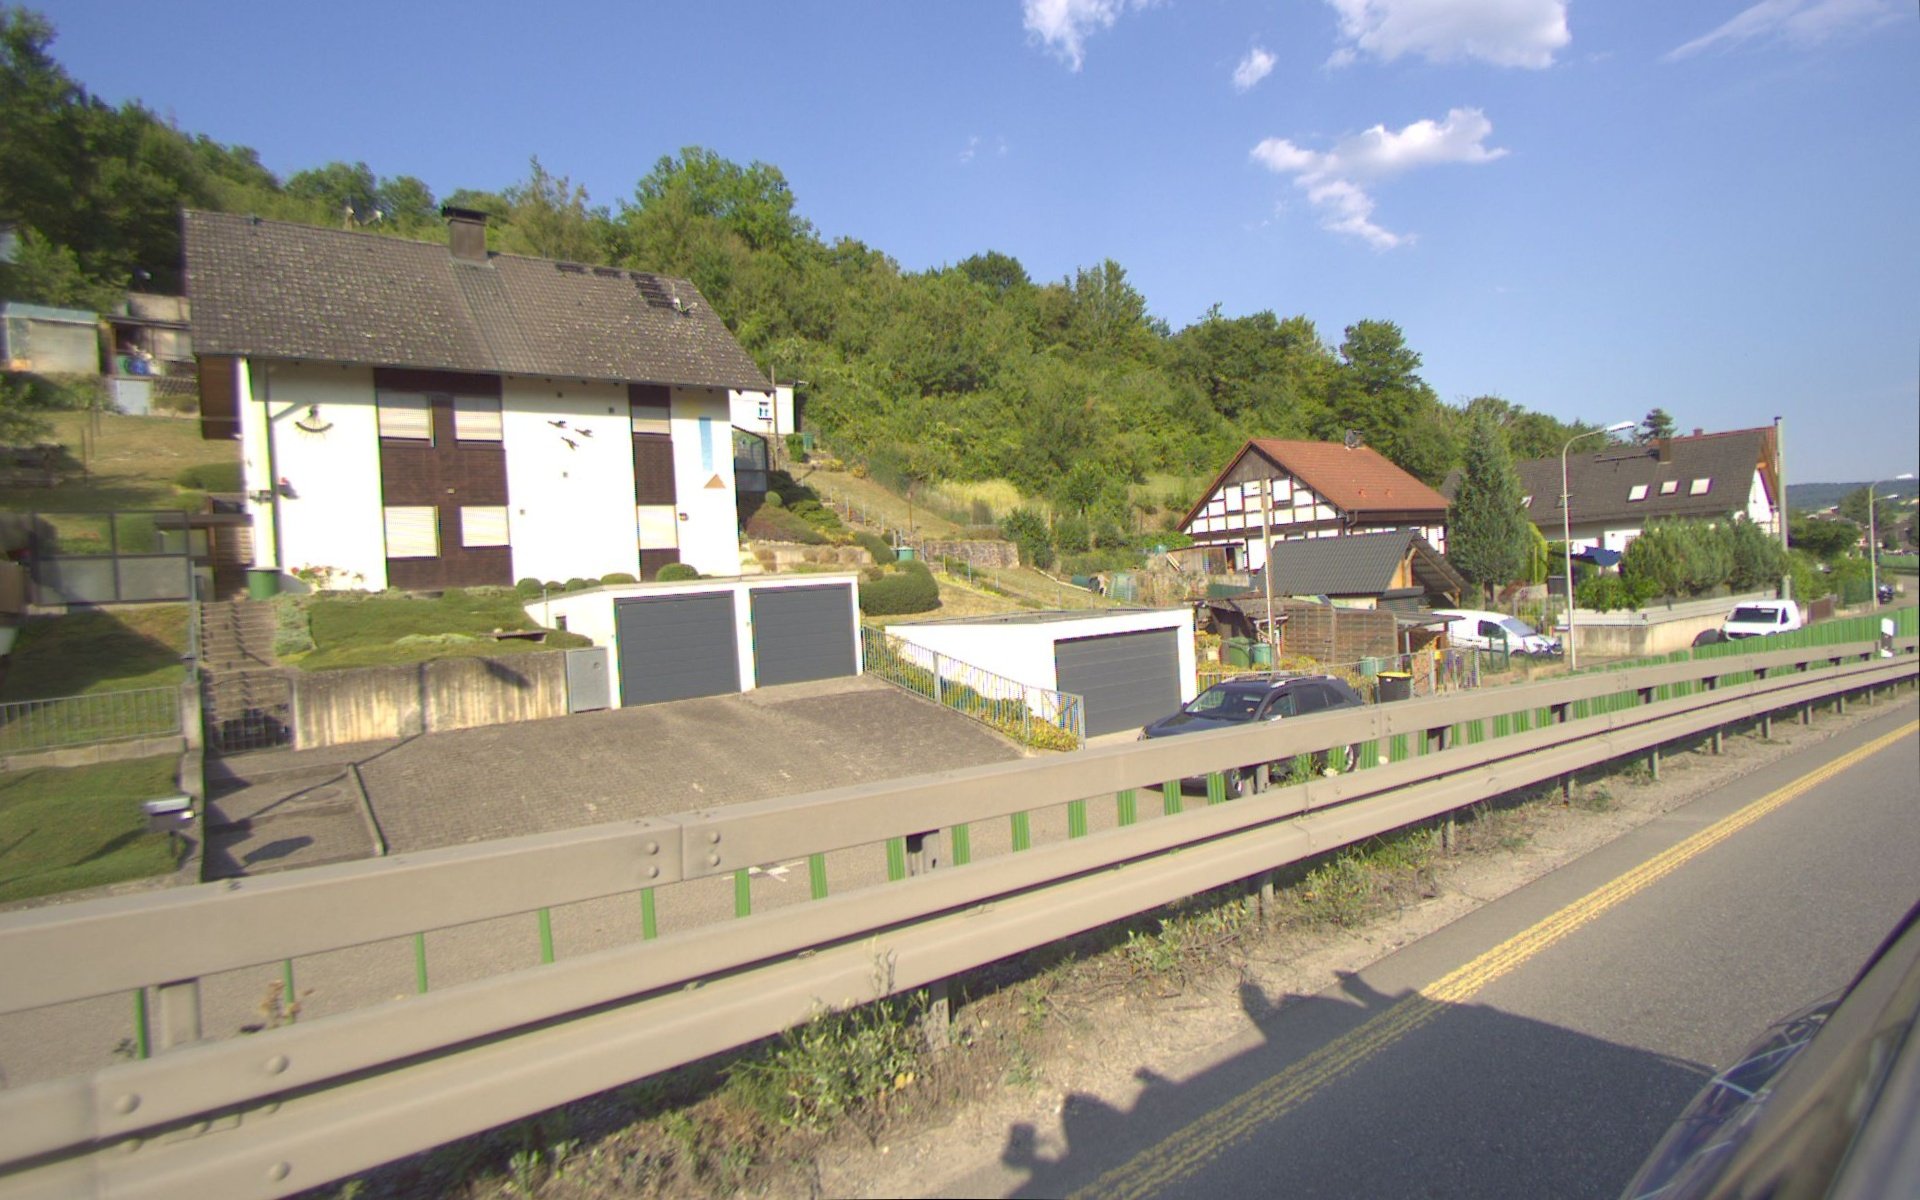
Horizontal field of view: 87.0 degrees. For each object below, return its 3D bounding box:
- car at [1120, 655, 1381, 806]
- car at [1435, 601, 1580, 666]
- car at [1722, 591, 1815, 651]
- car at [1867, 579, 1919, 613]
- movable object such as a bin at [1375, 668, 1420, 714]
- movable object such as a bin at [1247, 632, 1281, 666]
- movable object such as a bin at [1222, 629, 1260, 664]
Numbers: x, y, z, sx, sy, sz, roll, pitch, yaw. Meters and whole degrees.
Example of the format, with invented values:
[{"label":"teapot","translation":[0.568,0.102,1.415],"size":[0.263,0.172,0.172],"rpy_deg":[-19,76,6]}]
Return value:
[{"label":"car","translation":[4.942,2.039,16.957],"size":[4.415,1.806,1.868],"rpy_deg":[-3,2,-36]},{"label":"car","translation":[18.561,1.065,34.455],"size":[1.718,1.861,3.998],"rpy_deg":[-2,4,-38]},{"label":"car","translation":[29.655,0.731,37.083],"size":[4.210,1.966,1.823],"rpy_deg":[-2,0,-40]},{"label":"car","translation":[58.812,-0.278,63.661],"size":[3.928,2.039,1.998],"rpy_deg":[0,1,-39]},{"label":"movable object such as a bin","translation":[10.313,2.140,23.867],"size":[0.665,1.014,0.723],"rpy_deg":[-1,-2,-39]},{"label":"movable object such as a bin","translation":[8.780,1.413,29.262],"size":[0.668,0.912,0.687],"rpy_deg":[0,1,-41]},{"label":"movable object such as a bin","translation":[7.882,1.296,28.362],"size":[0.668,0.912,0.791],"rpy_deg":[0,1,-40]}]
